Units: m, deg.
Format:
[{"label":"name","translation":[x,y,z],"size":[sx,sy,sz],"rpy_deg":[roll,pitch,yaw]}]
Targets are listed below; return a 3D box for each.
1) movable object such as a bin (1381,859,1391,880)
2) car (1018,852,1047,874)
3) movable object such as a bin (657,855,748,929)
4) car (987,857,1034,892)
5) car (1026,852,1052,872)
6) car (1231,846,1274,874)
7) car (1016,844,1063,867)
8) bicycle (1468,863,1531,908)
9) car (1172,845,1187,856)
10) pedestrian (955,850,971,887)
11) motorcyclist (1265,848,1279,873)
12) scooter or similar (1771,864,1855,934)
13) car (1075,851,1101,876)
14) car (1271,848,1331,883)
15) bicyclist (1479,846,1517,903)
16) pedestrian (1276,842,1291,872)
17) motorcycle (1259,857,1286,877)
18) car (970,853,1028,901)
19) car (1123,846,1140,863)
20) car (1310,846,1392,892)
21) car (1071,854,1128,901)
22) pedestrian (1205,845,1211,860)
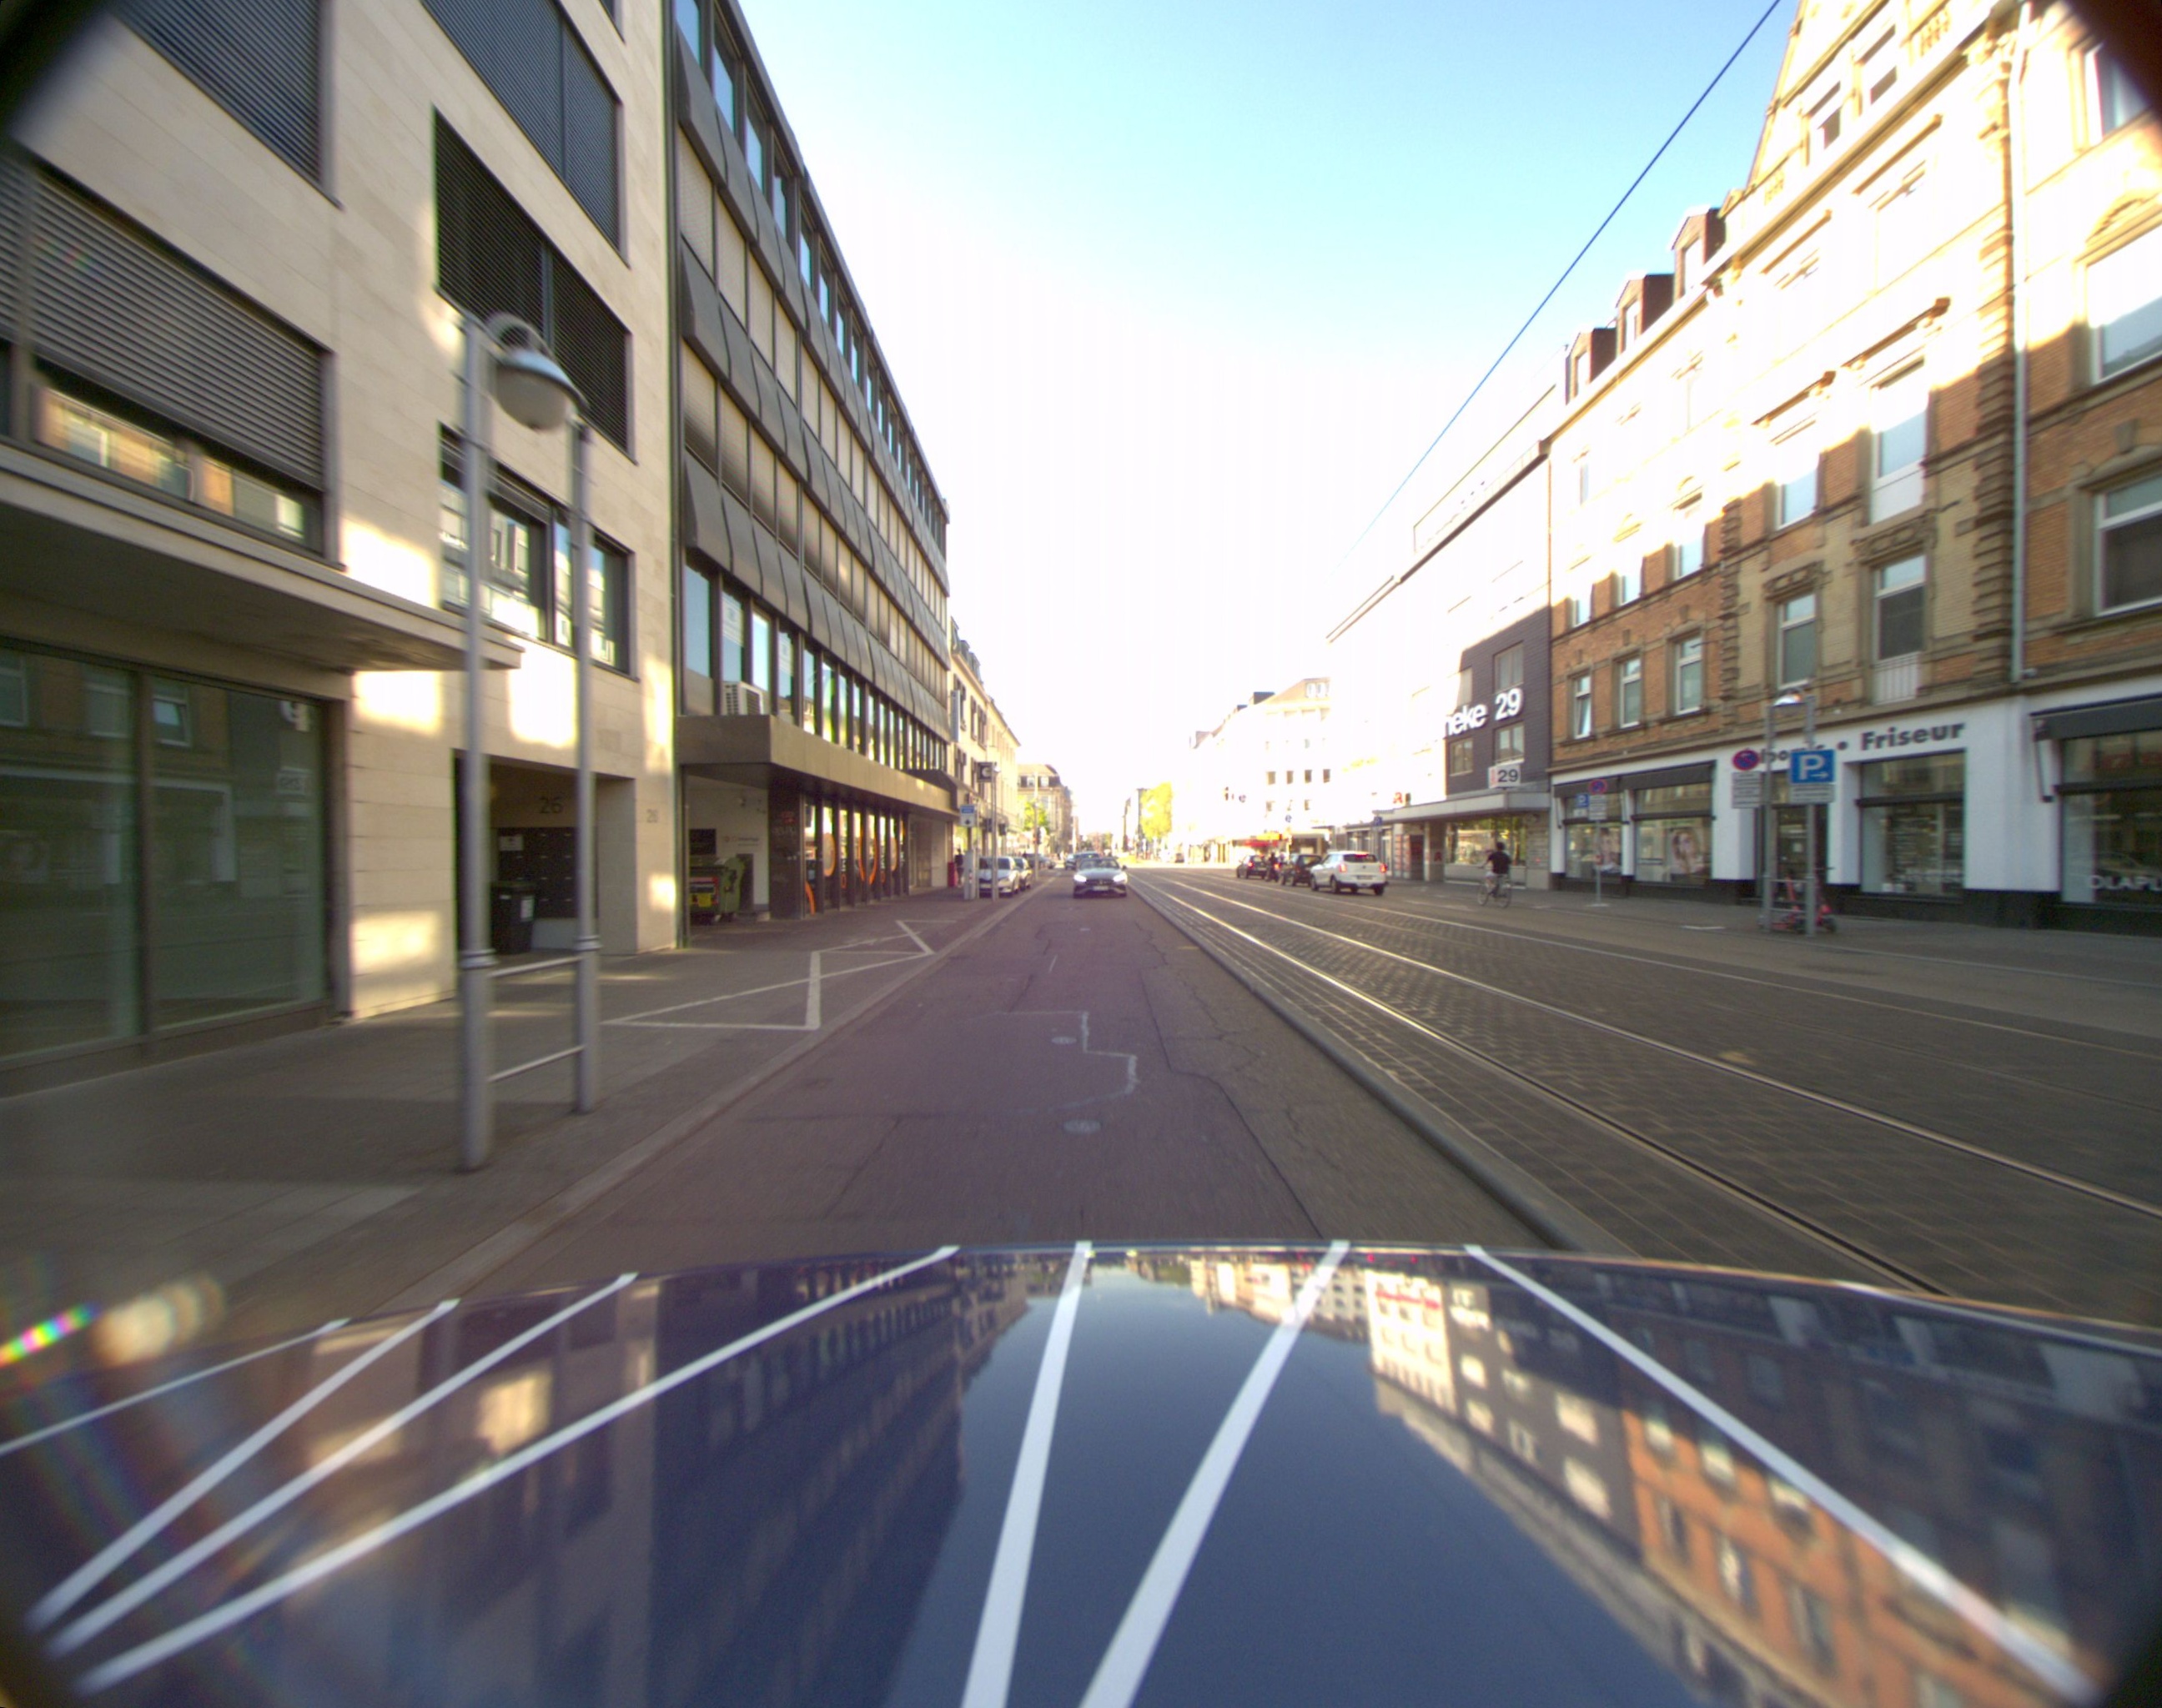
[{"label":"movable object such as a bin","translation":[14.254,0.722,35.509],"size":[0.325,0.942,0.467],"rpy_deg":[0,1,1]},{"label":"car","translation":[-3.283,0.605,51.739],"size":[1.630,1.342,3.330],"rpy_deg":[2,1,1]},{"label":"movable object such as a bin","translation":[-8.166,0.800,16.471],"size":[1.309,1.492,1.235],"rpy_deg":[2,1,0]},{"label":"car","translation":[-2.961,0.836,32.638],"size":[1.630,1.342,3.330],"rpy_deg":[2,1,1]},{"label":"car","translation":[-3.097,0.568,56.749],"size":[1.630,1.342,3.463],"rpy_deg":[2,1,1]},{"label":"car","translation":[10.146,0.329,45.099],"size":[1.667,1.521,3.999],"rpy_deg":[1,1,1]},{"label":"car","translation":[-4.043,0.162,73.408],"size":[3.989,2.002,2.003],"rpy_deg":[-2,1,30]},{"label":"bicycle","translation":[11.710,0.852,21.362],"size":[0.610,1.142,2.100],"rpy_deg":[-2,1,1]},{"label":"car","translation":[14.416,-0.472,111.433],"size":[1.630,1.524,3.463],"rpy_deg":[2,1,1]},{"label":"pedestrian","translation":[-5.411,0.661,34.838],"size":[0.513,1.665,0.744],"rpy_deg":[-2,1,1]},{"label":"motorcyclist","translation":[10.103,0.321,40.197],"size":[0.540,1.296,0.655],"rpy_deg":[1,1,1]},{"label":"scooter or similar","translation":[13.608,0.814,14.164],"size":[0.404,1.216,1.202],"rpy_deg":[-2,1,1]},{"label":"car","translation":[0.475,0.621,51.315],"size":[1.630,1.593,3.330],"rpy_deg":[2,1,1]},{"label":"car","translation":[10.314,0.485,35.877],"size":[1.667,1.521,3.999],"rpy_deg":[1,1,1]},{"label":"bicyclist","translation":[11.697,0.569,21.336],"size":[0.576,1.538,0.861],"rpy_deg":[-2,1,1]},{"label":"pedestrian","translation":[12.600,0.209,47.243],"size":[0.705,1.830,0.636],"rpy_deg":[-2,1,1]},{"label":"motorcycle","translation":[10.103,0.687,40.128],"size":[0.907,0.987,1.935],"rpy_deg":[1,1,1]},{"label":"car","translation":[-2.936,0.789,27.741],"size":[1.630,1.543,3.508],"rpy_deg":[2,1,1]},{"label":"car","translation":[6.270,0.067,94.660],"size":[1.998,2.002,4.000],"rpy_deg":[-2,1,2]},{"label":"car","translation":[10.029,0.513,28.536],"size":[1.802,1.625,3.676],"rpy_deg":[0,1,1]},{"label":"car","translation":[0.611,0.769,27.029],"size":[1.858,1.463,4.785],"rpy_deg":[0,1,0]},{"label":"pedestrian","translation":[16.565,-0.194,99.309],"size":[0.669,1.939,0.620],"rpy_deg":[-2,1,1]}]
